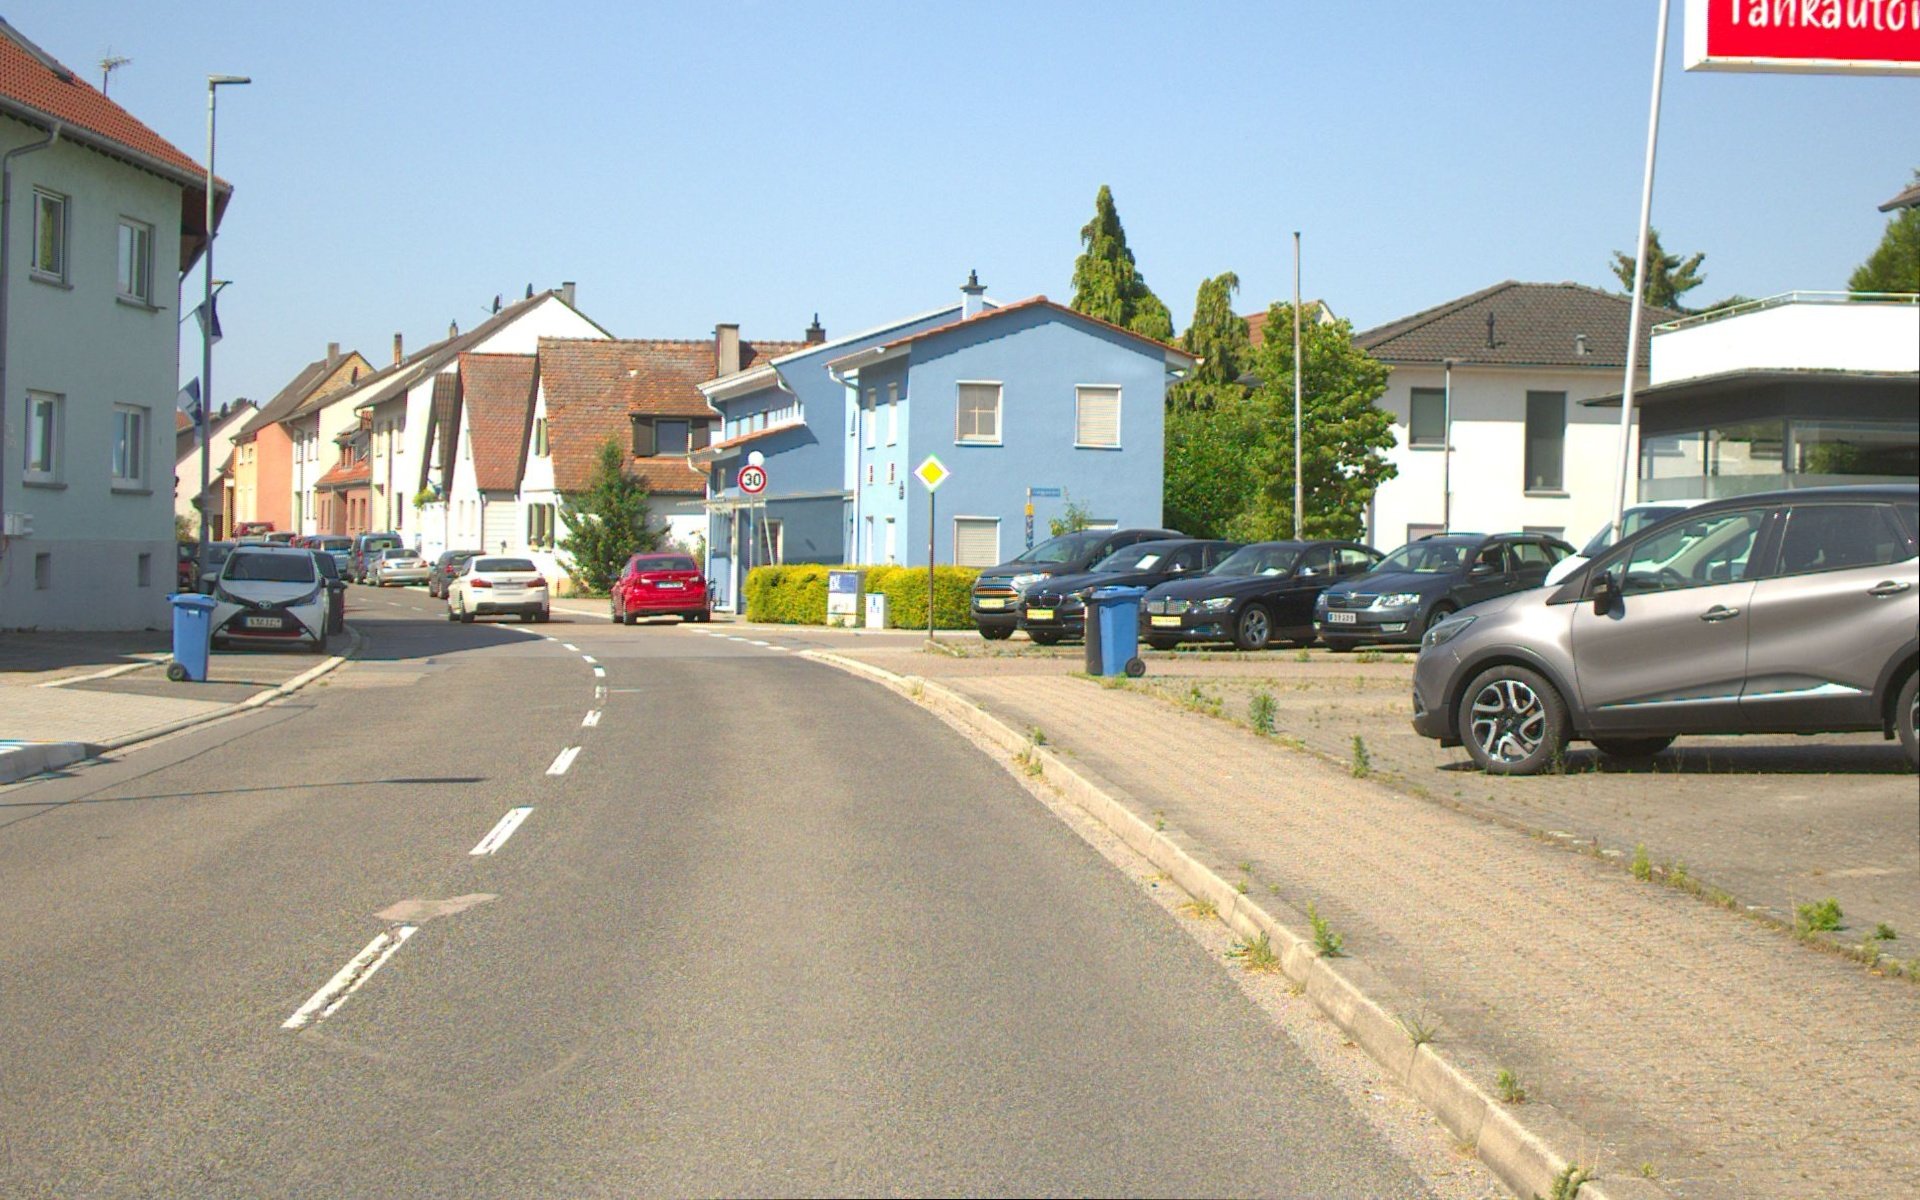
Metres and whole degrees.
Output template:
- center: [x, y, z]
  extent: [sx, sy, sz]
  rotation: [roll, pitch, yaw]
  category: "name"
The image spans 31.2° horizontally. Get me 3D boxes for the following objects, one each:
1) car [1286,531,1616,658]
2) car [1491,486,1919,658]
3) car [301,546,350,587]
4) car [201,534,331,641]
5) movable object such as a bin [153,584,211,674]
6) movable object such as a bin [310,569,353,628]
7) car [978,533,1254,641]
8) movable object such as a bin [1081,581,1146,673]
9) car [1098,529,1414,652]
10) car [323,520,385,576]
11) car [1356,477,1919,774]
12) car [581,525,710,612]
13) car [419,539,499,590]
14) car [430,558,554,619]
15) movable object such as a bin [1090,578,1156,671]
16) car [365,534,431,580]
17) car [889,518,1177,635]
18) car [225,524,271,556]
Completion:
- center: [6.327, -0.104, 44.050]
  extent: [4.306, 1.545, 1.983]
  rotation: [-1, 1, -45]
  category: "car"
- center: [9.369, -0.363, 42.529]
  extent: [5.268, 2.007, 2.232]
  rotation: [0, 1, -29]
  category: "car"
- center: [-24.570, -1.300, 133.105]
  extent: [1.420, 1.510, 3.305]
  rotation: [2, 1, -18]
  category: "car"
- center: [-9.933, -0.189, 49.390]
  extent: [1.683, 1.457, 3.650]
  rotation: [1, 0, -9]
  category: "car"
- center: [-8.340, 0.311, 36.848]
  extent: [0.557, 0.933, 0.515]
  rotation: [3, 0, -13]
  category: "movable object such as a bin"
- center: [-10.674, -0.027, 58.374]
  extent: [0.551, 0.925, 0.826]
  rotation: [5, 0, -17]
  category: "movable object such as a bin"
- center: [2.206, -0.206, 47.951]
  extent: [1.750, 1.442, 3.864]
  rotation: [1, 1, 43]
  category: "car"
- center: [1.593, 0.278, 35.707]
  extent: [0.557, 0.933, 0.515]
  rotation: [0, 1, -13]
  category: "movable object such as a bin"
- center: [3.967, -0.156, 45.632]
  extent: [1.983, 1.560, 4.229]
  rotation: [1, 1, 43]
  category: "car"
- center: [-21.605, -1.861, 122.517]
  extent: [1.649, 1.903, 3.627]
  rotation: [2, 1, -18]
  category: "car"
- center: [4.523, 0.141, 19.398]
  extent: [4.176, 1.550, 1.771]
  rotation: [-1, 0, 34]
  category: "car"
- center: [-6.536, -0.686, 71.124]
  extent: [1.732, 1.489, 4.357]
  rotation: [-1, 5, -18]
  category: "car"
- center: [-14.861, -1.057, 101.873]
  extent: [1.704, 1.428, 3.891]
  rotation: [2, 1, -18]
  category: "car"
- center: [-10.135, -0.262, 74.238]
  extent: [1.993, 1.284, 4.001]
  rotation: [0, 1, -17]
  category: "car"
- center: [1.666, 0.243, 35.154]
  extent: [0.557, 0.936, 0.515]
  rotation: [0, 1, -13]
  category: "movable object such as a bin"
- center: [-19.286, -1.483, 117.870]
  extent: [1.704, 1.491, 3.453]
  rotation: [2, 1, -18]
  category: "car"
- center: [1.103, -0.360, 50.472]
  extent: [4.102, 1.647, 1.830]
  rotation: [-1, 1, -43]
  category: "car"
- center: [-32.835, -2.759, 158.512]
  extent: [1.766, 1.428, 3.451]
  rotation: [0, 1, -16]
  category: "car"
